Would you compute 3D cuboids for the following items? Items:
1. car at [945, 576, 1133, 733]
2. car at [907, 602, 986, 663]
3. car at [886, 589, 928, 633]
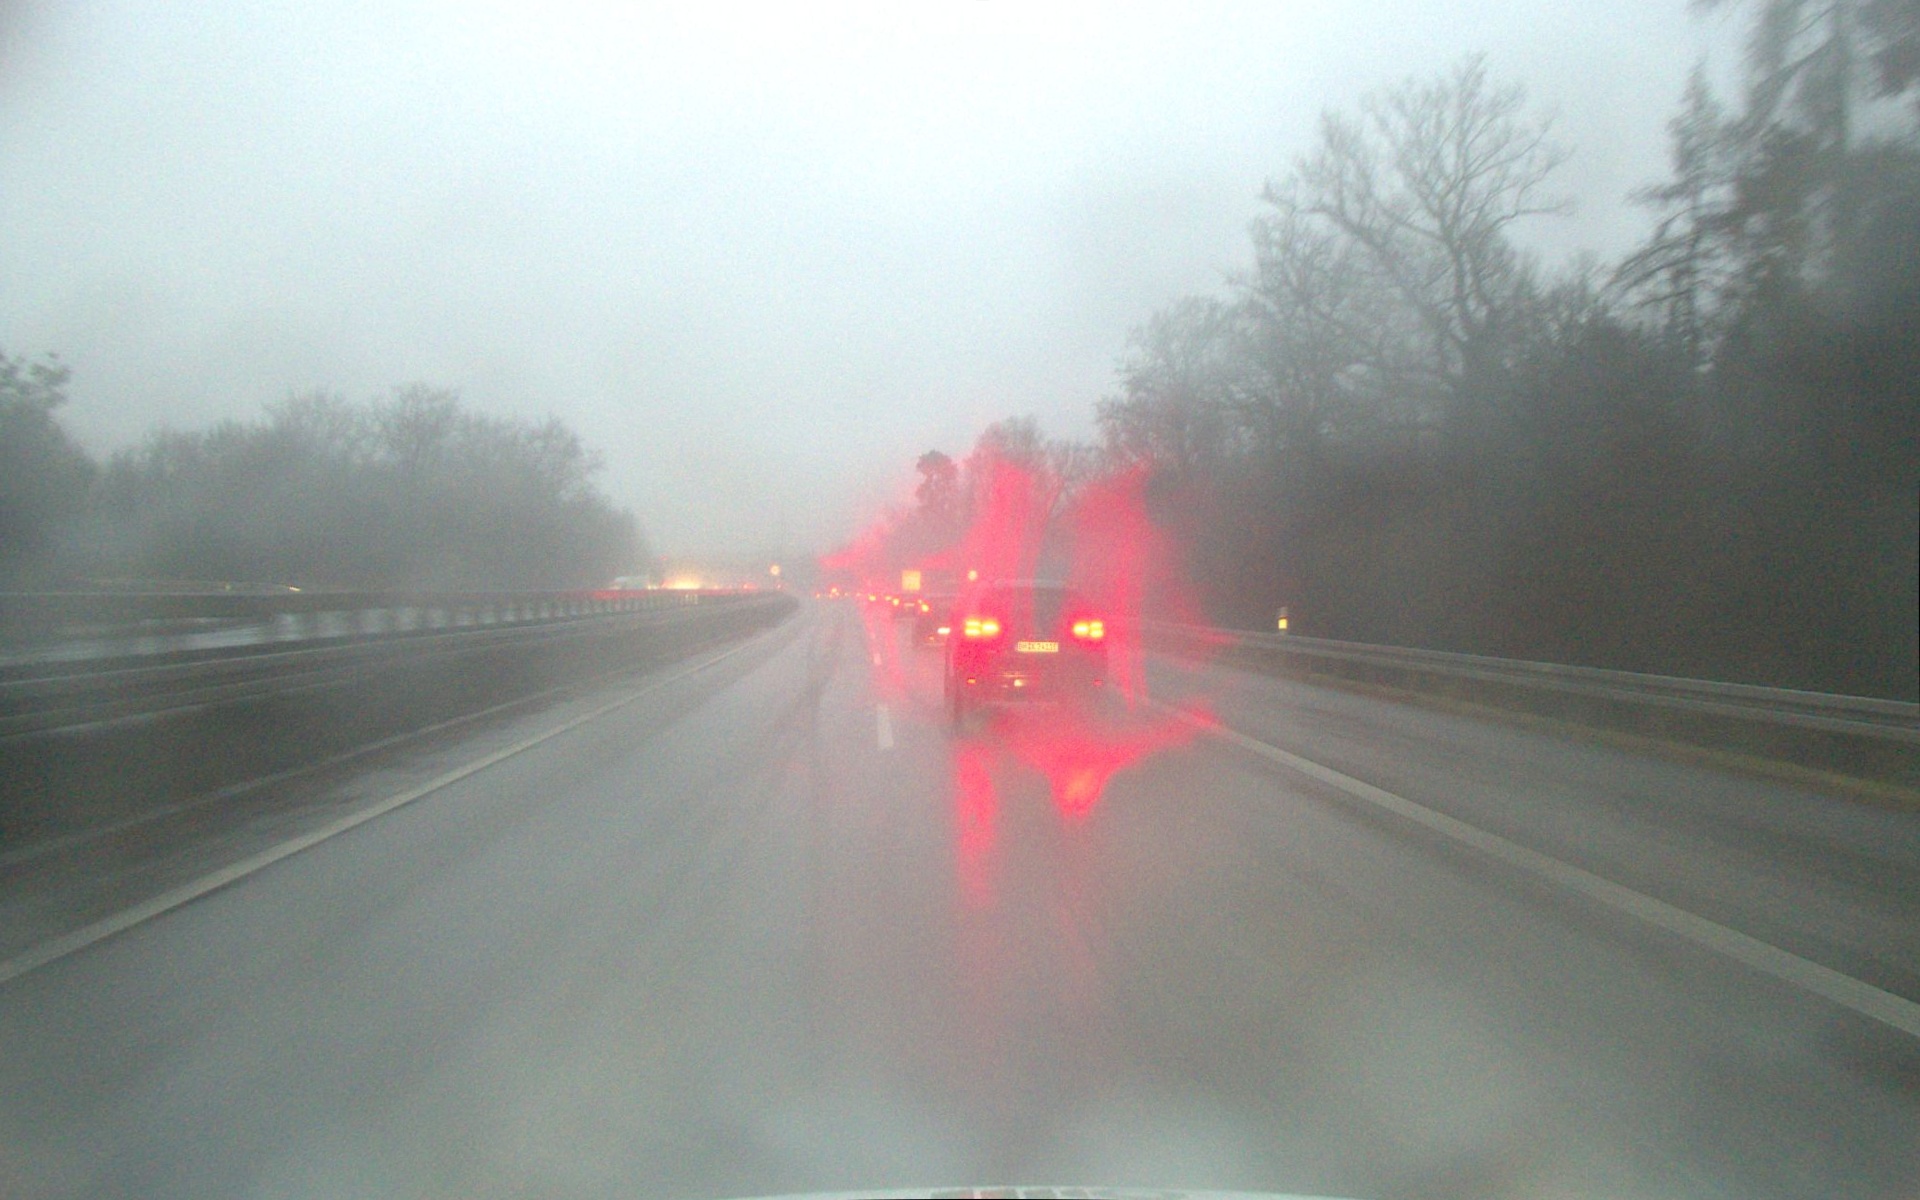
[{"bbox_3d":[0.876,0.618,20.550,1.952,1.745,3.828,1,0,-3],"label":"car"},{"bbox_3d":[-0.385,0.834,44.213,1.953,1.445,3.999,3,0,-1],"label":"car"},{"bbox_3d":[-2.611,0.531,81.624,1.953,2.049,3.999,1,0,-2],"label":"car"}]
